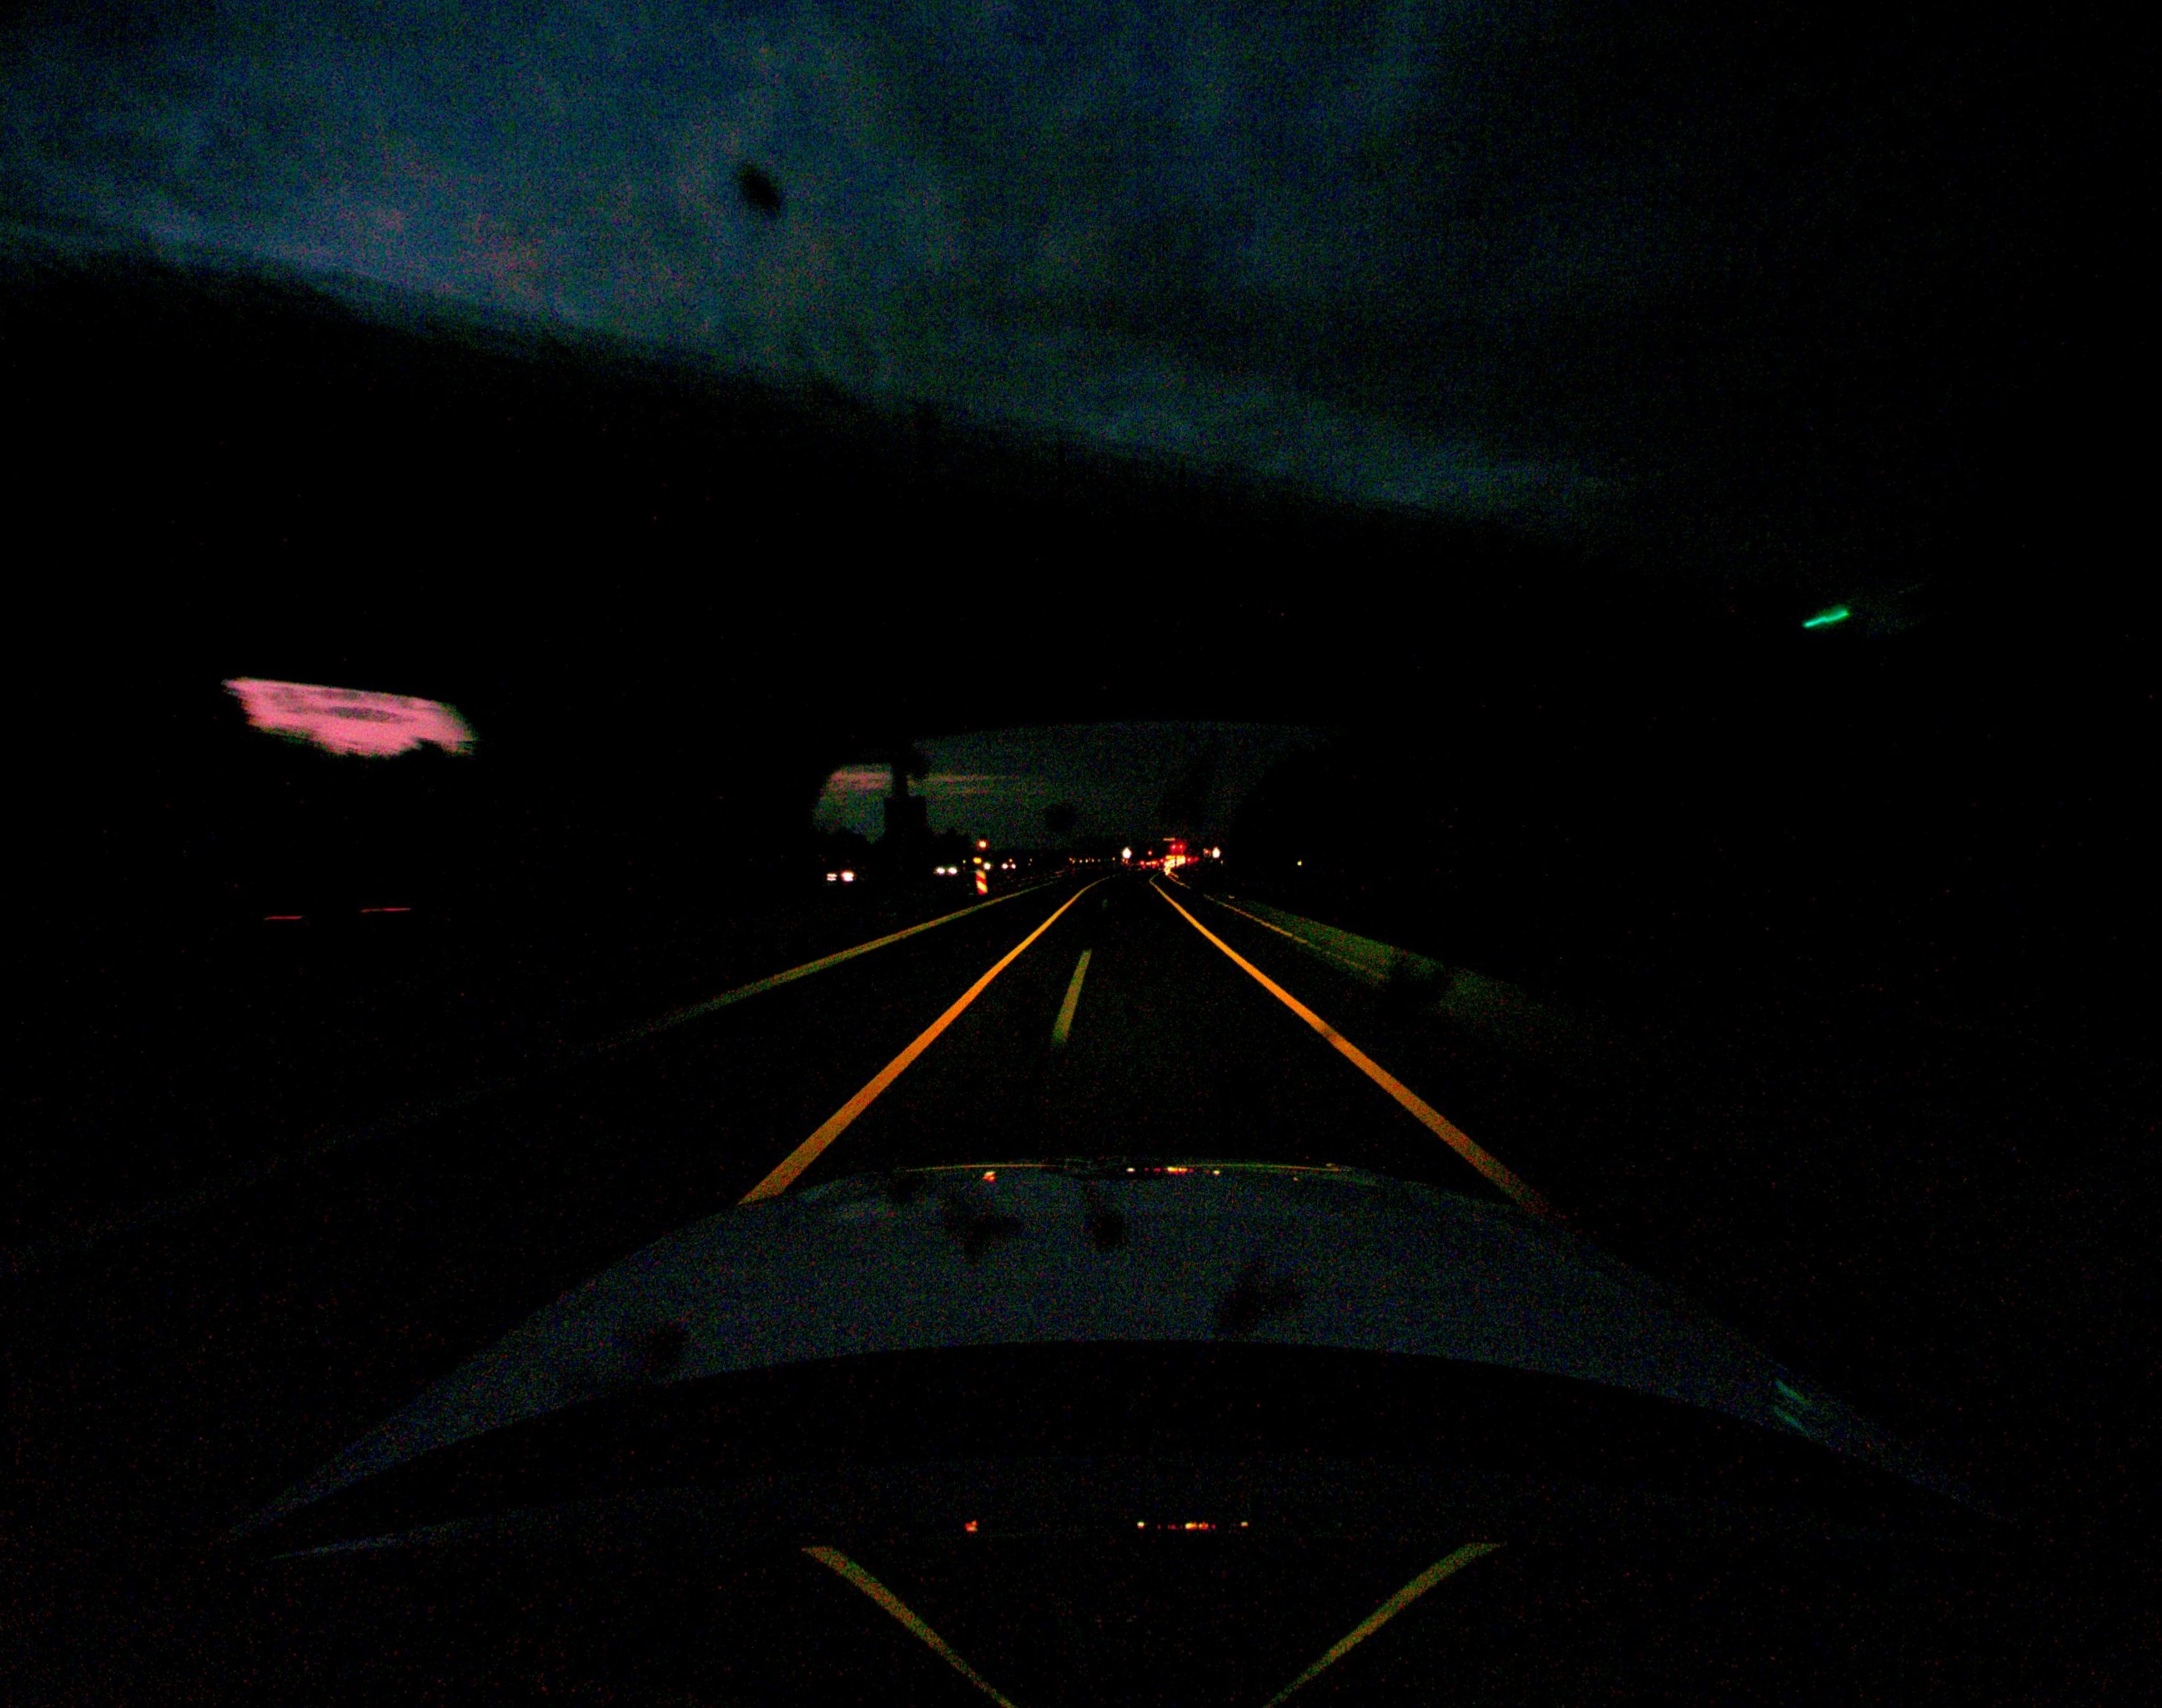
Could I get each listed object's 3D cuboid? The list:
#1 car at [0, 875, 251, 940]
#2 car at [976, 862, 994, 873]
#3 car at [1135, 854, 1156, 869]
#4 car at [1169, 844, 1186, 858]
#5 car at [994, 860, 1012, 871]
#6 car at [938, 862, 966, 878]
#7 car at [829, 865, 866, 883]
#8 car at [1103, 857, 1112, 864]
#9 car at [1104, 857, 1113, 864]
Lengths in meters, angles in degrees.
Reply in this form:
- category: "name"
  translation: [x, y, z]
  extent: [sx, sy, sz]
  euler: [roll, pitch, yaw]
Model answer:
- category: "car"
  translation: [-23.931, 1.262, 20.468]
  extent: [1.987, 1.323, 4.000]
  euler: [-2, 0, 1]
- category: "car"
  translation: [-14.627, 2.014, 124.288]
  extent: [1.897, 1.714, 3.950]
  euler: [0, 0, 6]
- category: "car"
  translation: [6.974, 0.805, 88.365]
  extent: [2.256, 1.621, 4.003]
  euler: [0, 0, 3]
- category: "car"
  translation: [24.688, -0.670, 209.206]
  extent: [3.593, 3.396, 8.014]
  euler: [0, 0, 1]
- category: "car"
  translation: [-11.949, 1.679, 125.124]
  extent: [1.822, 1.661, 4.848]
  euler: [0, 0, 5]
- category: "car"
  translation: [-14.100, 1.763, 89.136]
  extent: [1.822, 1.661, 4.848]
  euler: [0, 0, 5]
- category: "car"
  translation: [-19.632, 1.674, 68.537]
  extent: [1.695, 1.455, 3.934]
  euler: [0, 0, 4]
- category: "car"
  translation: [6.742, 1.660, 209.391]
  extent: [1.983, 1.714, 4.008]
  euler: [0, 0, 7]
- category: "car"
  translation: [7.360, 1.616, 216.597]
  extent: [1.983, 1.828, 4.008]
  euler: [0, 0, 7]
